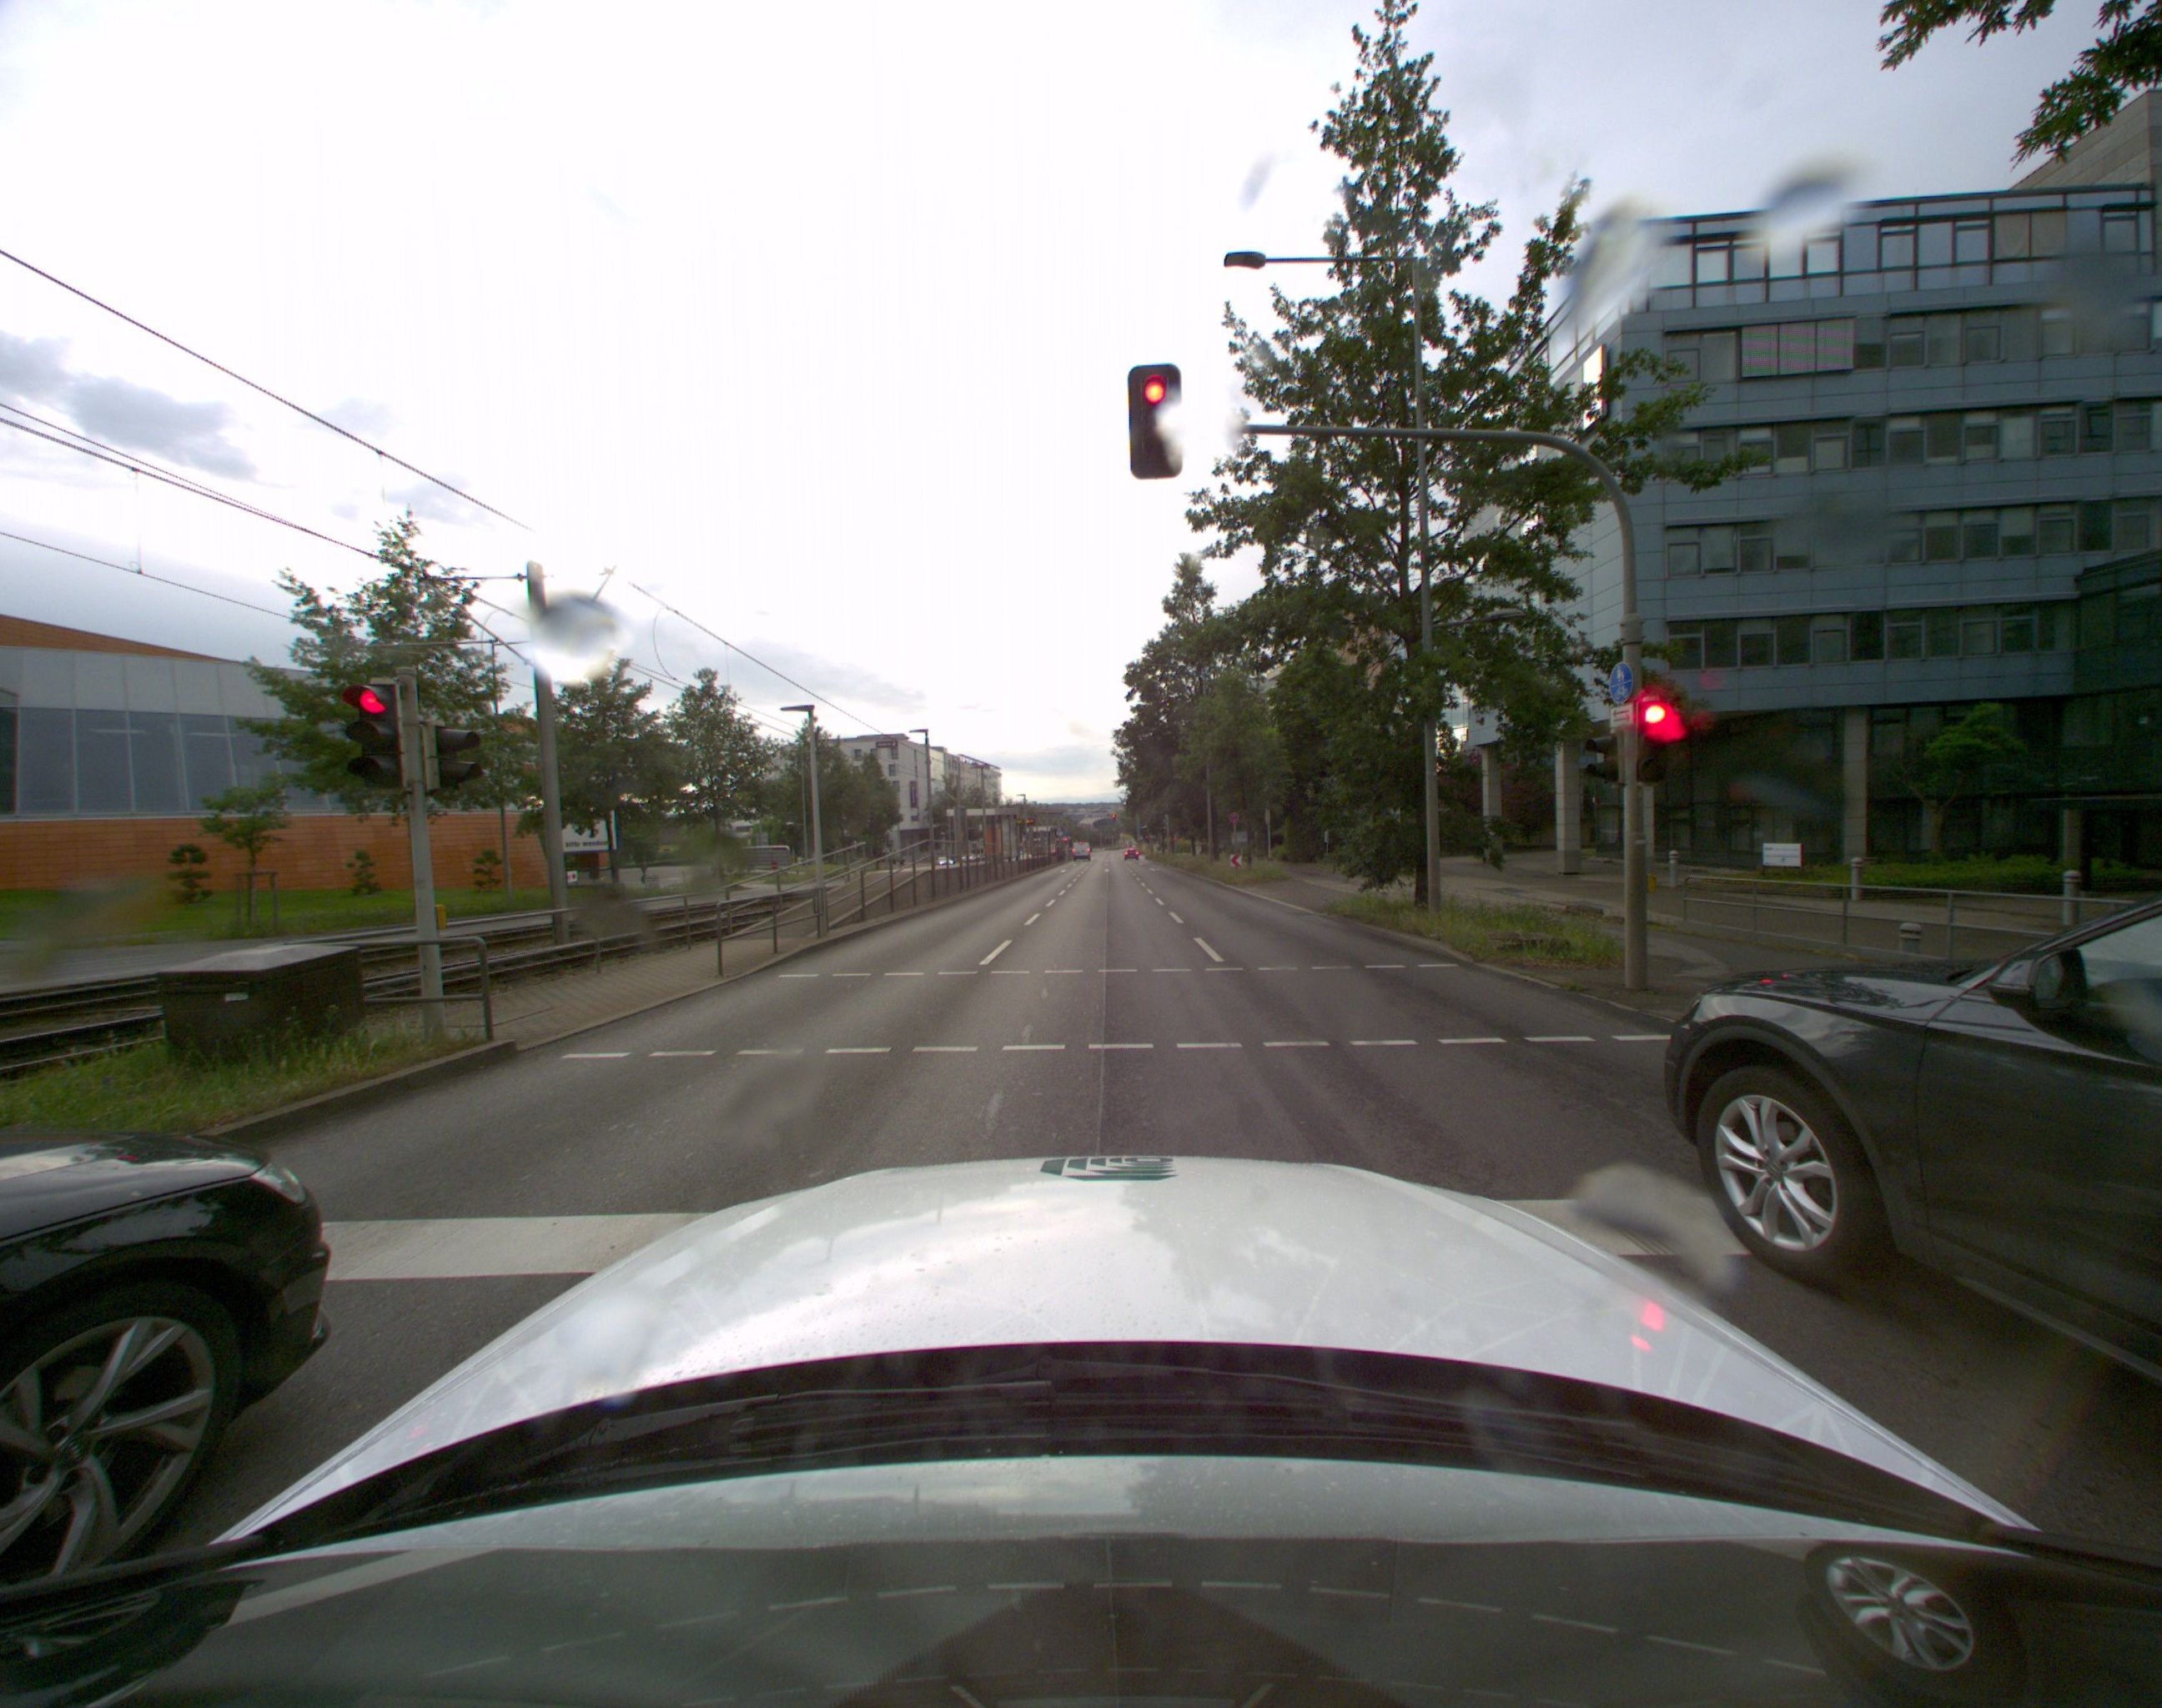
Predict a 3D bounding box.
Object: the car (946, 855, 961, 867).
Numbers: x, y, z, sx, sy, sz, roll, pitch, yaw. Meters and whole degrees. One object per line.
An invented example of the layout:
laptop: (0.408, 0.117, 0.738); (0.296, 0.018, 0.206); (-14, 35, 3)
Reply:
car: (-16.327, 0.860, 104.114); (1.651, 1.436, 3.865); (-4, 0, -11)

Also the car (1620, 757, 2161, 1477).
car: (3.304, 0.573, 1.447); (1.811, 1.612, 4.472); (-1, 0, 2)

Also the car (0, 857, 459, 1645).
car: (-2.961, 0.774, 0.363); (1.774, 1.466, 4.515); (-1, 0, 2)

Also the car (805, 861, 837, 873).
car: (-31.102, 1.570, 97.330); (3.341, 1.387, 1.440); (-1, 0, 18)

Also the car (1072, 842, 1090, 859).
car: (-0.021, -0.466, 102.626); (2.085, 2.053, 4.608); (-1, 0, 2)

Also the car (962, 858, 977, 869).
car: (-16.122, 1.369, 117.975); (1.562, 1.378, 3.518); (-2, 0, 0)

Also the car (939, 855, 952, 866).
car: (-18.338, 0.867, 110.299); (1.650, 1.436, 3.867); (-4, 0, -9)

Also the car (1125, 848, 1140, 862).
car: (6.474, 0.070, 102.835); (1.767, 1.691, 3.847); (-1, 0, 2)

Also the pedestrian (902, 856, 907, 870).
pedestrian: (-23.399, 1.182, 107.734); (0.473, 1.920, 0.490); (-1, 0, 1)
